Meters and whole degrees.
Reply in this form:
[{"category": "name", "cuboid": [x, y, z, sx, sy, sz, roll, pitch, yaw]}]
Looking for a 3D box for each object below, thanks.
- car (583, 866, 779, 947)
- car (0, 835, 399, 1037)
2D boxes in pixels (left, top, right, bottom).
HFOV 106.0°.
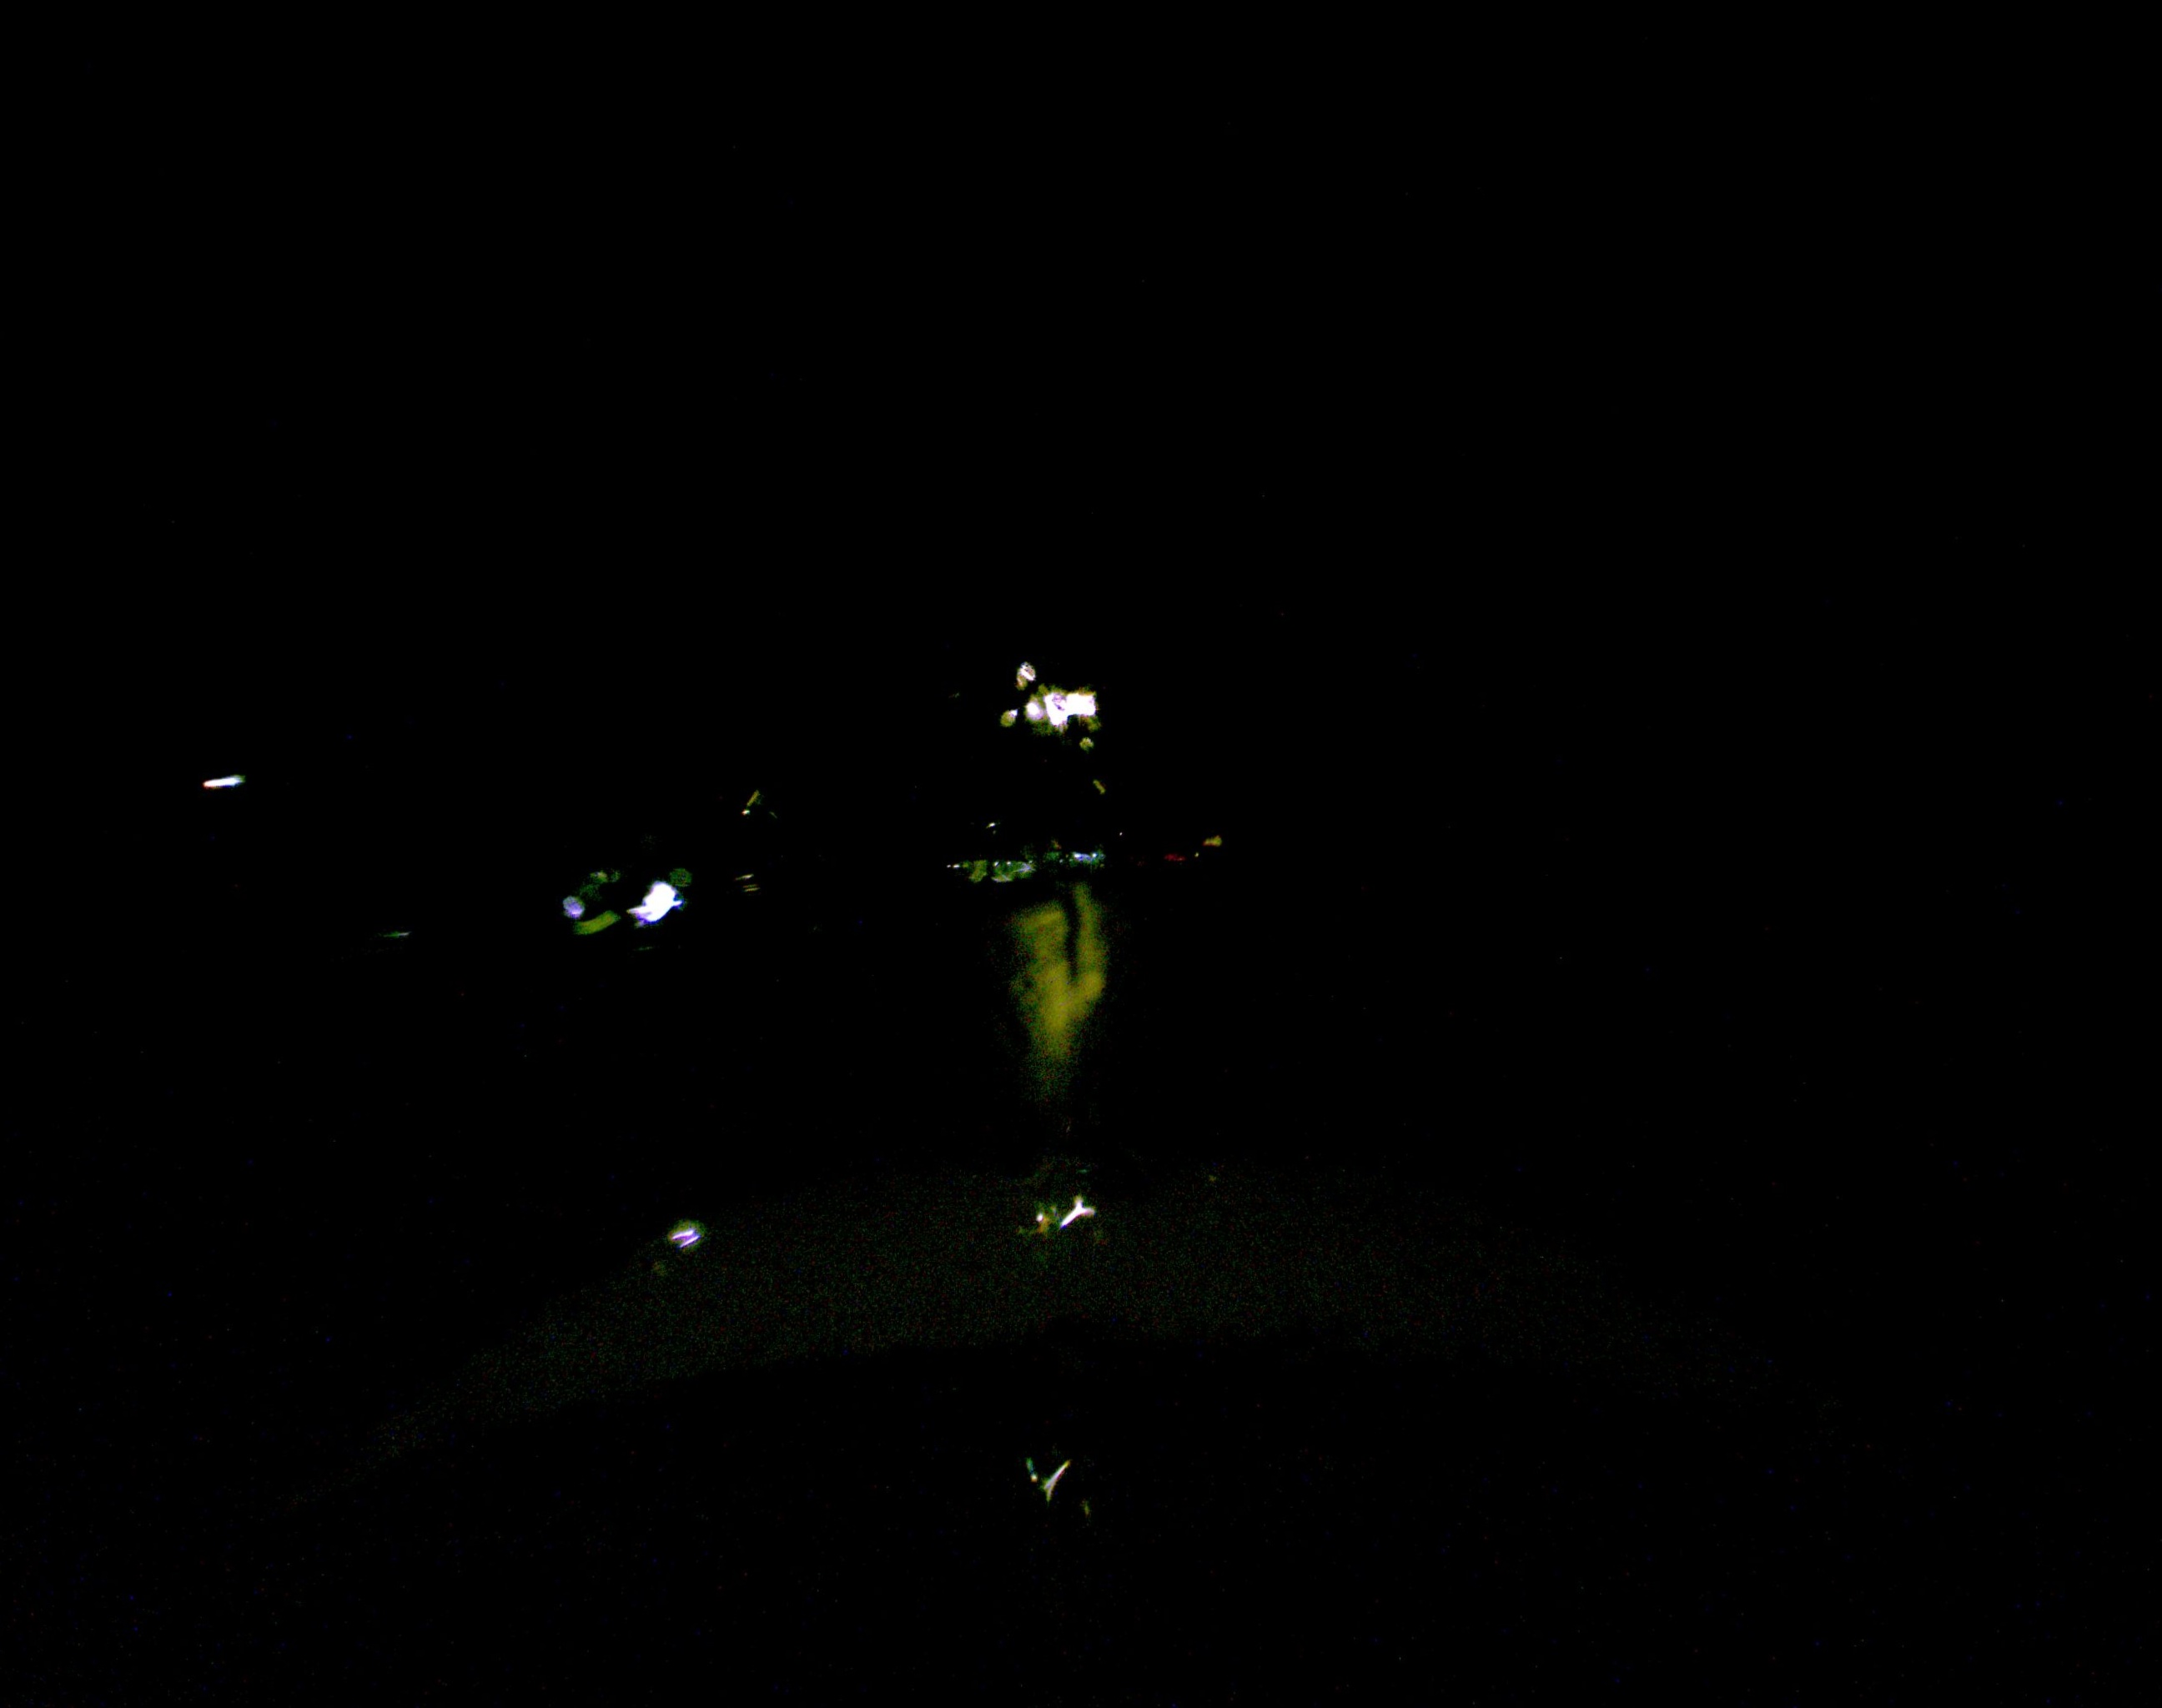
[{"category": "car", "cuboid": [-8.601, 1.080, 18.032, 1.699, 1.534, 4.607, -1, -2, 6]}, {"category": "car", "cuboid": [-9.839, 0.744, 8.521, 1.710, 1.703, 4.147, -1, -1, 4]}]
